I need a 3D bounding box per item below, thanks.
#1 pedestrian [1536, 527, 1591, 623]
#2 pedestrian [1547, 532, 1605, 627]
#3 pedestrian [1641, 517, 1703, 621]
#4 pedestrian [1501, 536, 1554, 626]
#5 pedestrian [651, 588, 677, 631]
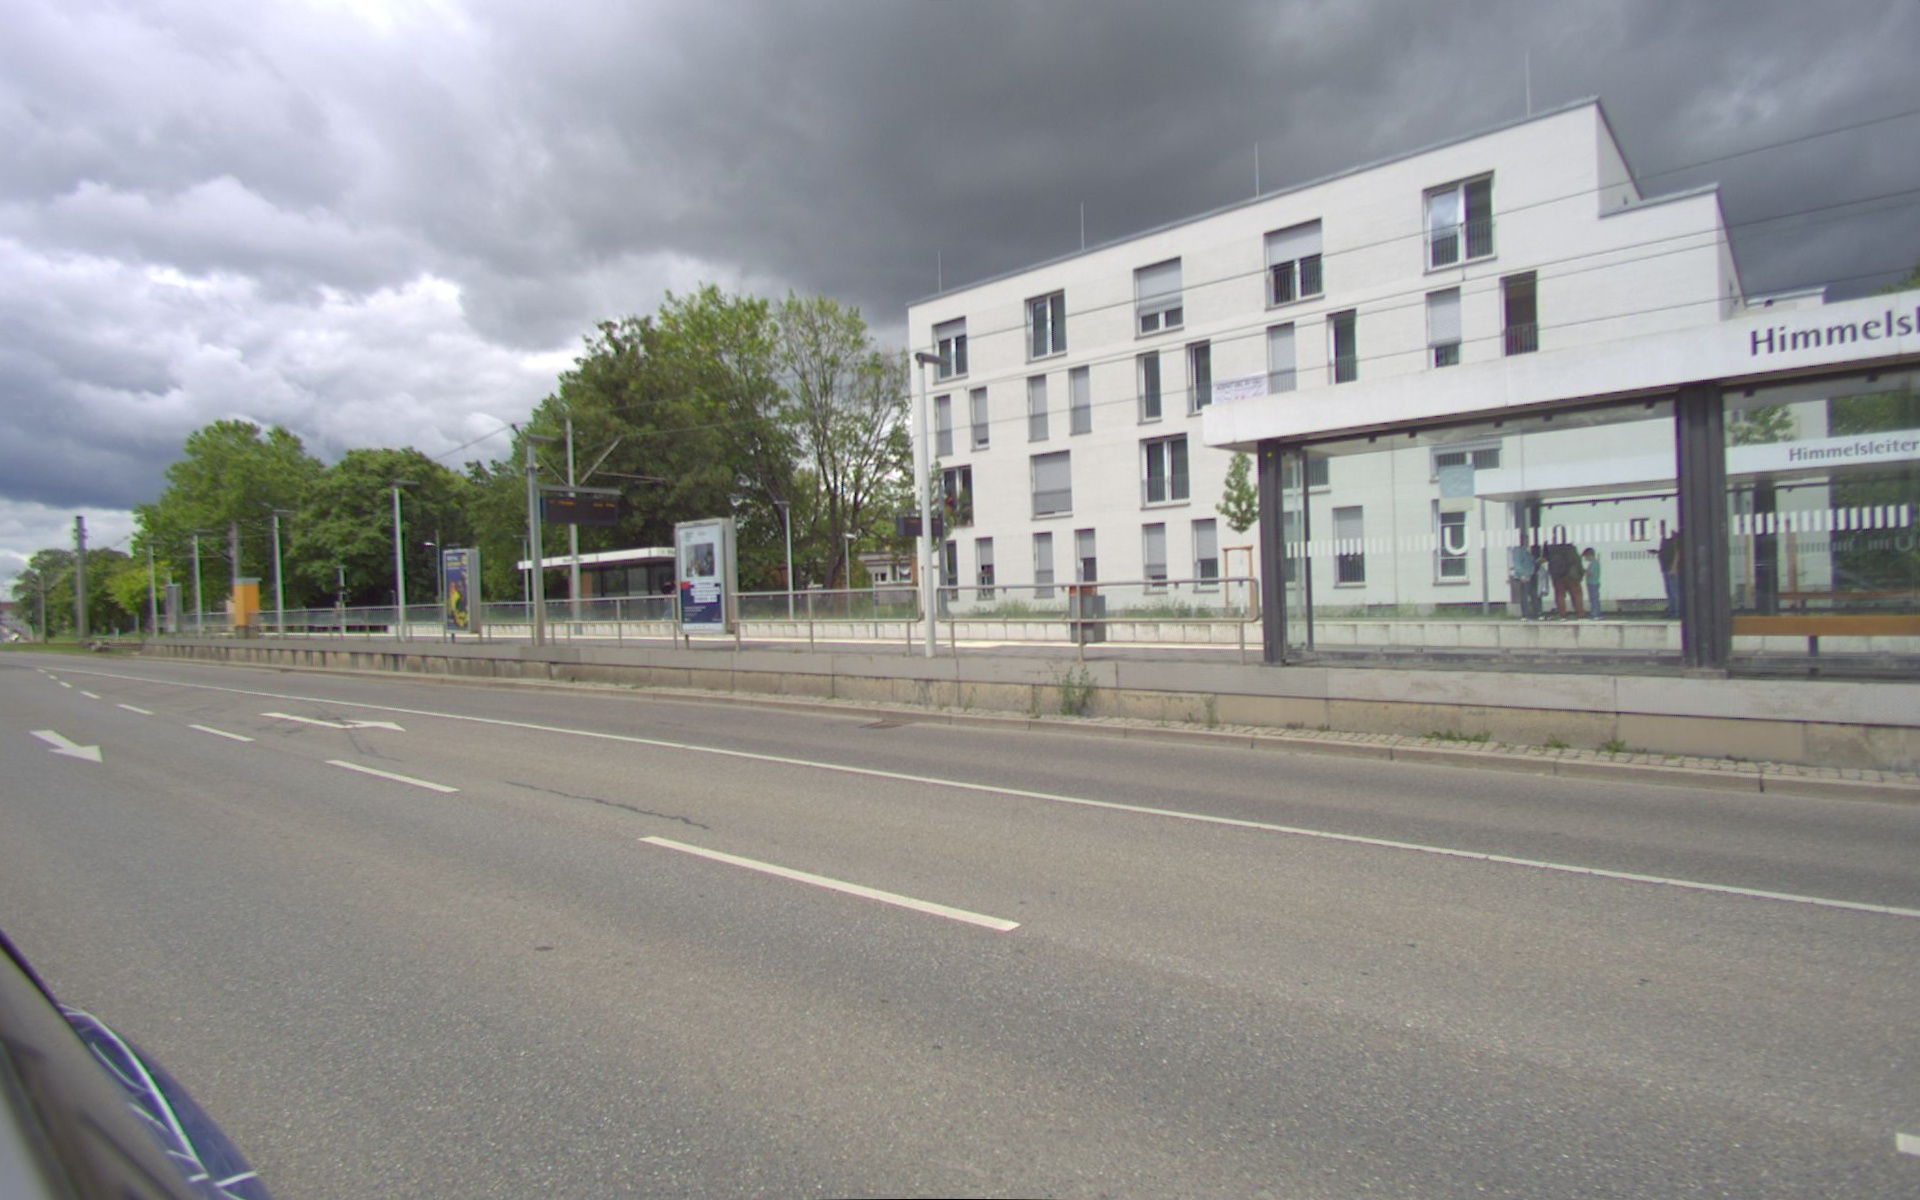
[{"bbox_3d":[11.148,-0.456,18.713,0.669,1.738,0.488,-2,0,6],"label":"pedestrian"},{"bbox_3d":[10.764,-0.351,17.696,0.481,1.608,0.679,-2,0,-15],"label":"pedestrian"},{"bbox_3d":[12.496,-0.526,17.770,0.481,1.779,0.679,-2,0,-15],"label":"pedestrian"},{"bbox_3d":[10.435,-0.339,18.624,0.481,1.608,0.679,-2,0,-7],"label":"pedestrian"},{"bbox_3d":[-10.851,0.332,37.112,0.733,1.542,0.547,-2,0,-1],"label":"pedestrian"}]
